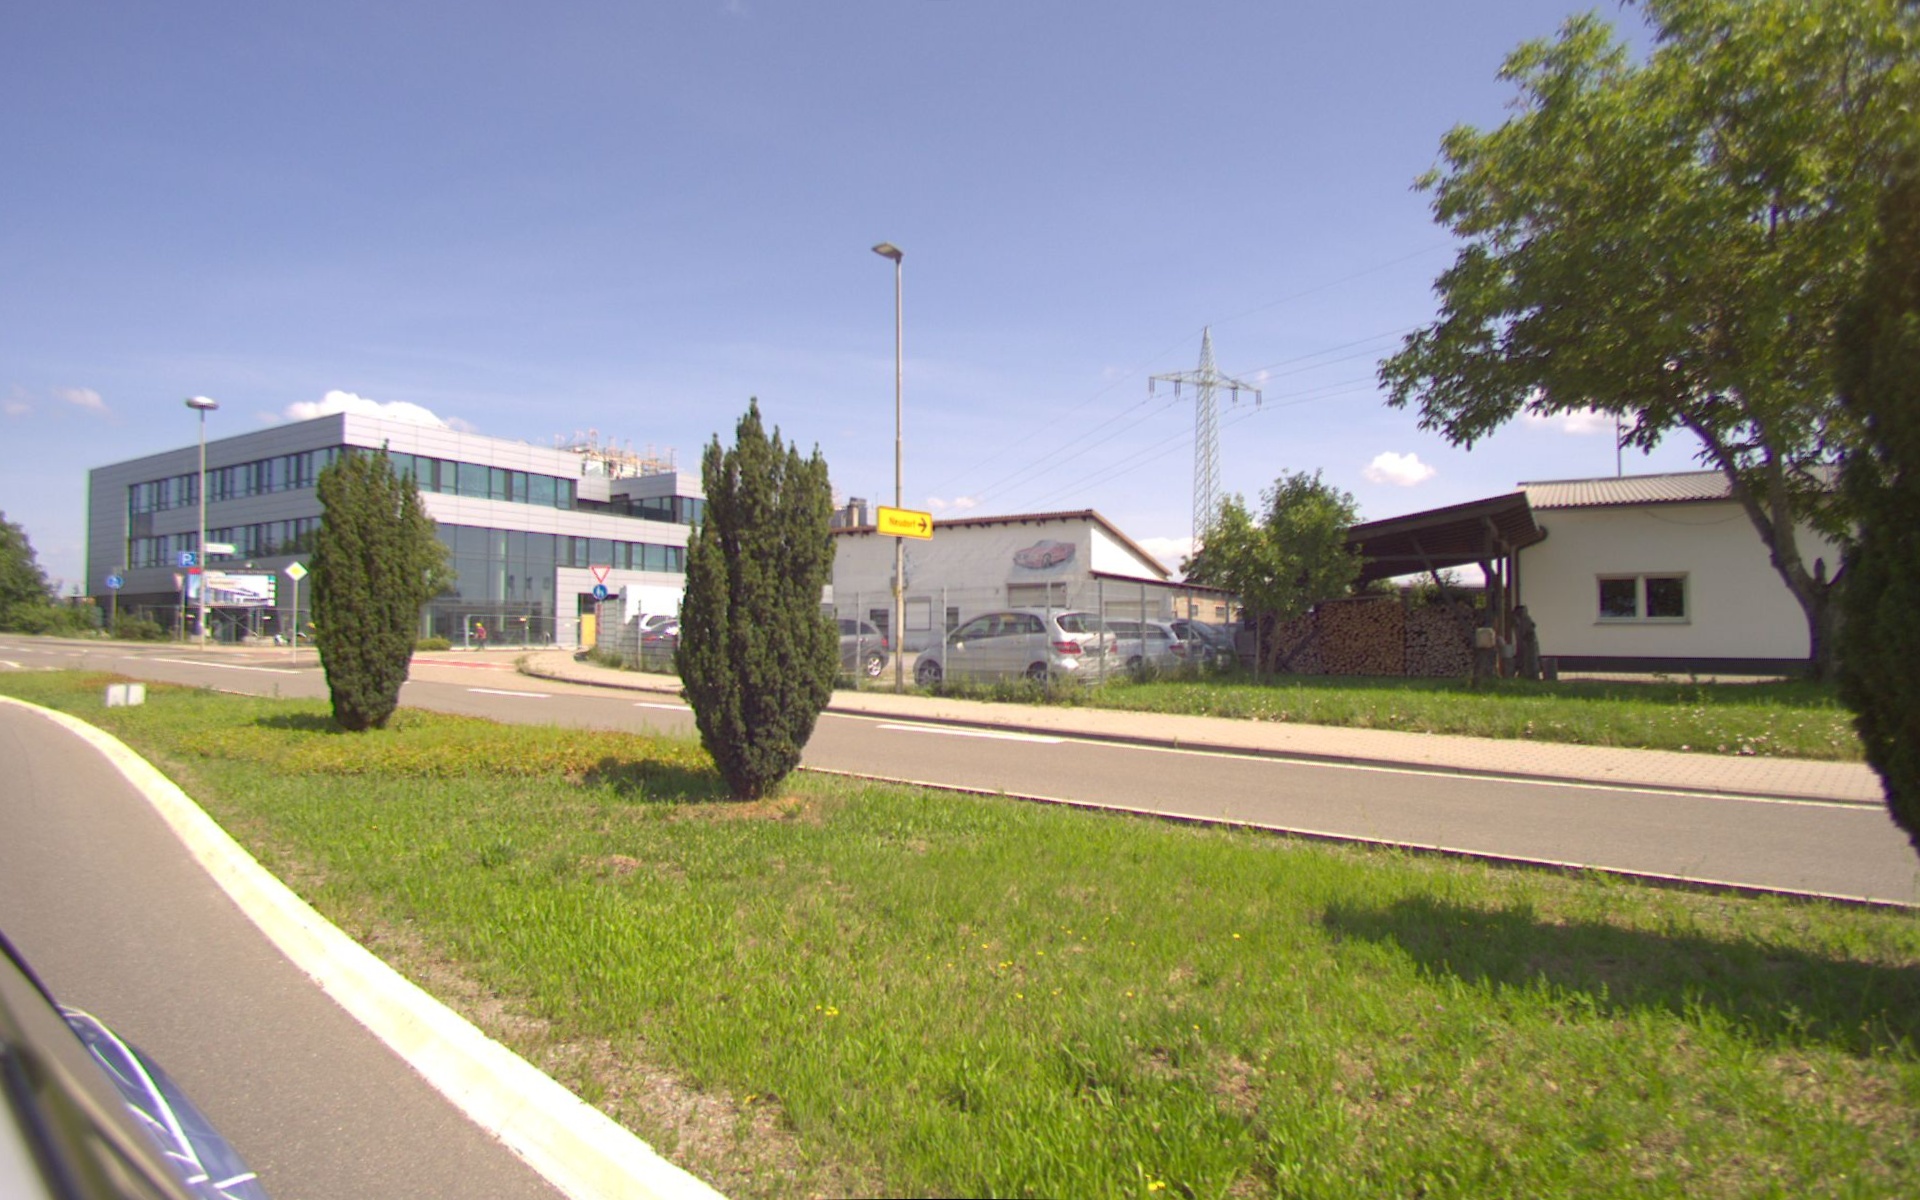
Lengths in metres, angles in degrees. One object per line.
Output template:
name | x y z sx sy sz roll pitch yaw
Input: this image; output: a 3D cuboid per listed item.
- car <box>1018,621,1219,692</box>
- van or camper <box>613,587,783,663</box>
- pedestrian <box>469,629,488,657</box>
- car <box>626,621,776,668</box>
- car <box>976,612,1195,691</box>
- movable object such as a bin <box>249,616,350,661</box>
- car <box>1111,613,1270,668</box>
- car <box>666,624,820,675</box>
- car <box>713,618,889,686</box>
car | 3.502 1.201 22.556 3.989 1.453 1.977 -1 -2 34
van or camper | -9.281 0.916 36.050 5.492 2.516 2.085 1 -2 -29
pedestrian | -30.326 2.723 63.710 0.772 1.741 0.774 -1 -2 30
car | -7.820 1.337 30.624 3.933 1.331 2.005 1 -2 -35
car | 2.507 1.007 20.530 3.990 1.453 1.976 -1 -2 35
movable object such as a bin | -37.467 2.146 57.398 5.427 2.428 2.154 0 -2 24
car | 6.539 1.145 28.793 3.989 1.453 1.977 -1 -2 34
car | -6.013 1.355 28.172 3.826 1.331 1.696 1 -2 -35
car | -3.835 1.240 24.858 1.998 1.530 3.946 -1 -3 40
